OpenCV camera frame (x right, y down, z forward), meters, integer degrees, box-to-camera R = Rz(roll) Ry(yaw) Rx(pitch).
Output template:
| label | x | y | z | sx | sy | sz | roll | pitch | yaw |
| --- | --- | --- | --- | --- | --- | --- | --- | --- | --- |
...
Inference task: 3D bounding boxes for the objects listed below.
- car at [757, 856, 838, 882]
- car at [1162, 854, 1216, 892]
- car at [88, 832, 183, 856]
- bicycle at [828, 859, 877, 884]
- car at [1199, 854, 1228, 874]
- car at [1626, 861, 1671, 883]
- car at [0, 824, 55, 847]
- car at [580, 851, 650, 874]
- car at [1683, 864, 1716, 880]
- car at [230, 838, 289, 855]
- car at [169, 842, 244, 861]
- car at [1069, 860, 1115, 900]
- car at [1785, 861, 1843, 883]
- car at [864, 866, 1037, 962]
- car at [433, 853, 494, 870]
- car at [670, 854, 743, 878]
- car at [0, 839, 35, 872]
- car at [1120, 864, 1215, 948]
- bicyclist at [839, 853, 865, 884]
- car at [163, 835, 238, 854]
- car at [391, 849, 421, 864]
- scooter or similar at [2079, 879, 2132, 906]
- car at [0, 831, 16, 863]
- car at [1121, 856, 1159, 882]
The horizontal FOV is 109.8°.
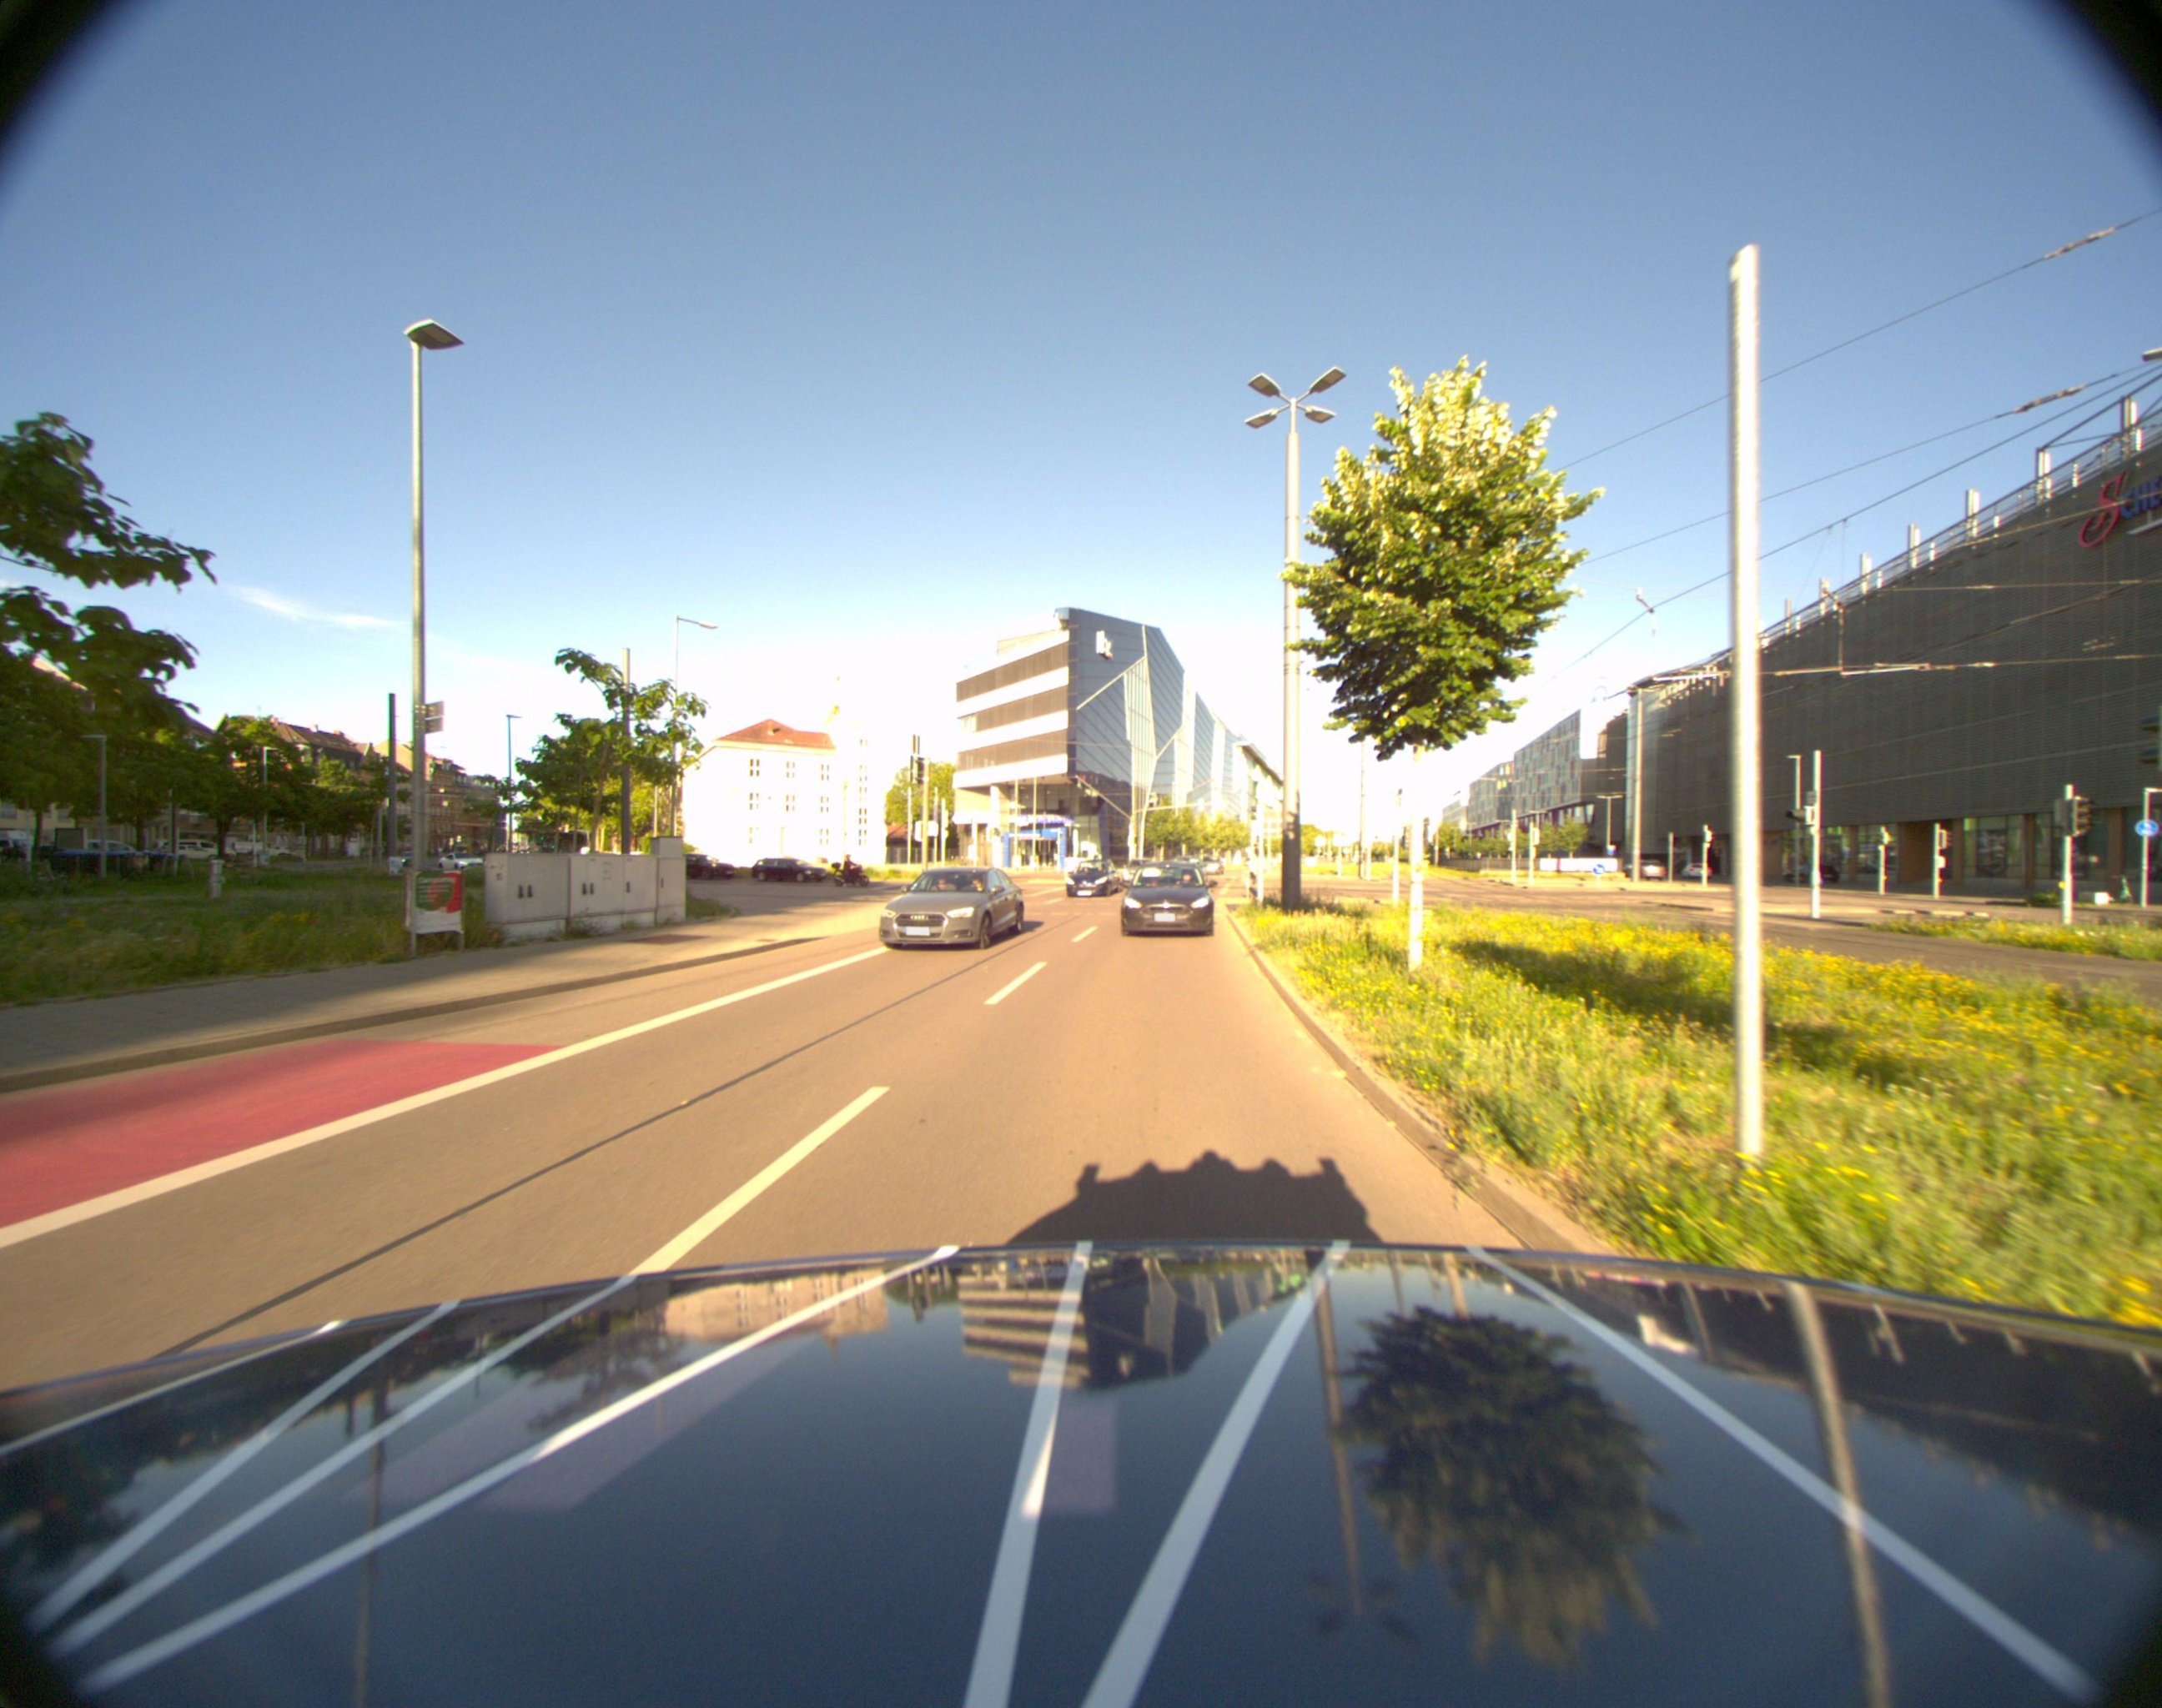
| label | x | y | z | sx | sy | sz | roll | pitch | yaw |
| --- | --- | --- | --- | --- | --- | --- | --- | --- | --- |
| car | -16.867 | 0.864 | 45.255 | 4.284 | 1.414 | 2.003 | 1 | 0 | 22 |
| car | 5.251 | 0.849 | 36.602 | 1.746 | 1.496 | 3.885 | 6 | 3 | 19 |
| car | -69.671 | -0.715 | 56.078 | 1.995 | 1.707 | 4.007 | 1 | 0 | 23 |
| bicycle | -12.253 | 0.921 | 40.712 | 2.367 | 1.304 | 0.953 | 1 | 1 | 16 |
| car | 10.077 | 0.759 | 57.602 | 1.618 | 1.421 | 3.772 | 1 | 0 | 18 |
| car | 45.316 | 1.420 | 60.764 | 1.807 | 1.566 | 4.301 | 2 | 1 | 23 |
| car | -84.495 | -1.446 | 60.515 | 2.004 | 1.707 | 4.250 | 0 | 0 | -34 |
| car | -31.127 | 0.554 | 50.747 | 3.990 | 1.414 | 2.003 | 1 | 0 | 22 |
| car | 57.635 | 1.636 | 70.835 | 1.688 | 1.364 | 3.597 | 1 | 0 | 28 |
| car | -90.857 | -0.797 | 84.047 | 1.995 | 1.805 | 4.007 | 1 | 0 | 25 |
| car | -78.600 | -0.219 | 68.345 | 1.995 | 1.707 | 4.006 | 1 | 0 | 21 |
| car | 0.444 | 0.991 | 30.798 | 1.735 | 1.437 | 4.000 | 1 | 0 | 1 |
| car | 56.011 | 1.341 | 58.124 | 1.582 | 1.521 | 3.755 | 0 | 0 | 15 |
| car | -2.201 | 0.974 | 14.030 | 1.713 | 1.432 | 4.115 | -1 | 0 | 12 |
| car | -47.826 | 0.570 | 58.837 | 3.990 | 1.237 | 2.003 | 1 | 0 | 23 |
| car | -23.478 | 0.707 | 47.650 | 3.990 | 1.414 | 2.003 | 1 | 0 | 22 |
| car | -57.161 | 0.074 | 38.760 | 1.996 | 1.707 | 4.005 | 1 | 0 | 15 |
| car | 1.858 | 0.968 | 15.810 | 1.688 | 1.425 | 4.156 | 1 | 0 | 8 |
| bicyclist | -12.262 | 0.763 | 40.729 | 1.006 | 1.597 | 0.881 | 1 | 1 | 16 |
| car | -80.856 | -0.882 | 69.836 | 1.994 | 1.707 | 4.271 | 1 | 0 | 31 |
| car | -63.611 | 0.251 | 71.653 | 1.938 | 1.368 | 3.988 | 0 | 0 | -40 |
| scooter or similar | 42.471 | 1.592 | 31.517 | 0.435 | 1.036 | 1.363 | 0 | 0 | 7 |
| car | -59.348 | -0.379 | 39.601 | 1.996 | 1.707 | 4.005 | 1 | 0 | 15 |
| car | 3.509 | 0.854 | 44.608 | 1.437 | 1.437 | 4.005 | 1 | 0 | 16 |
